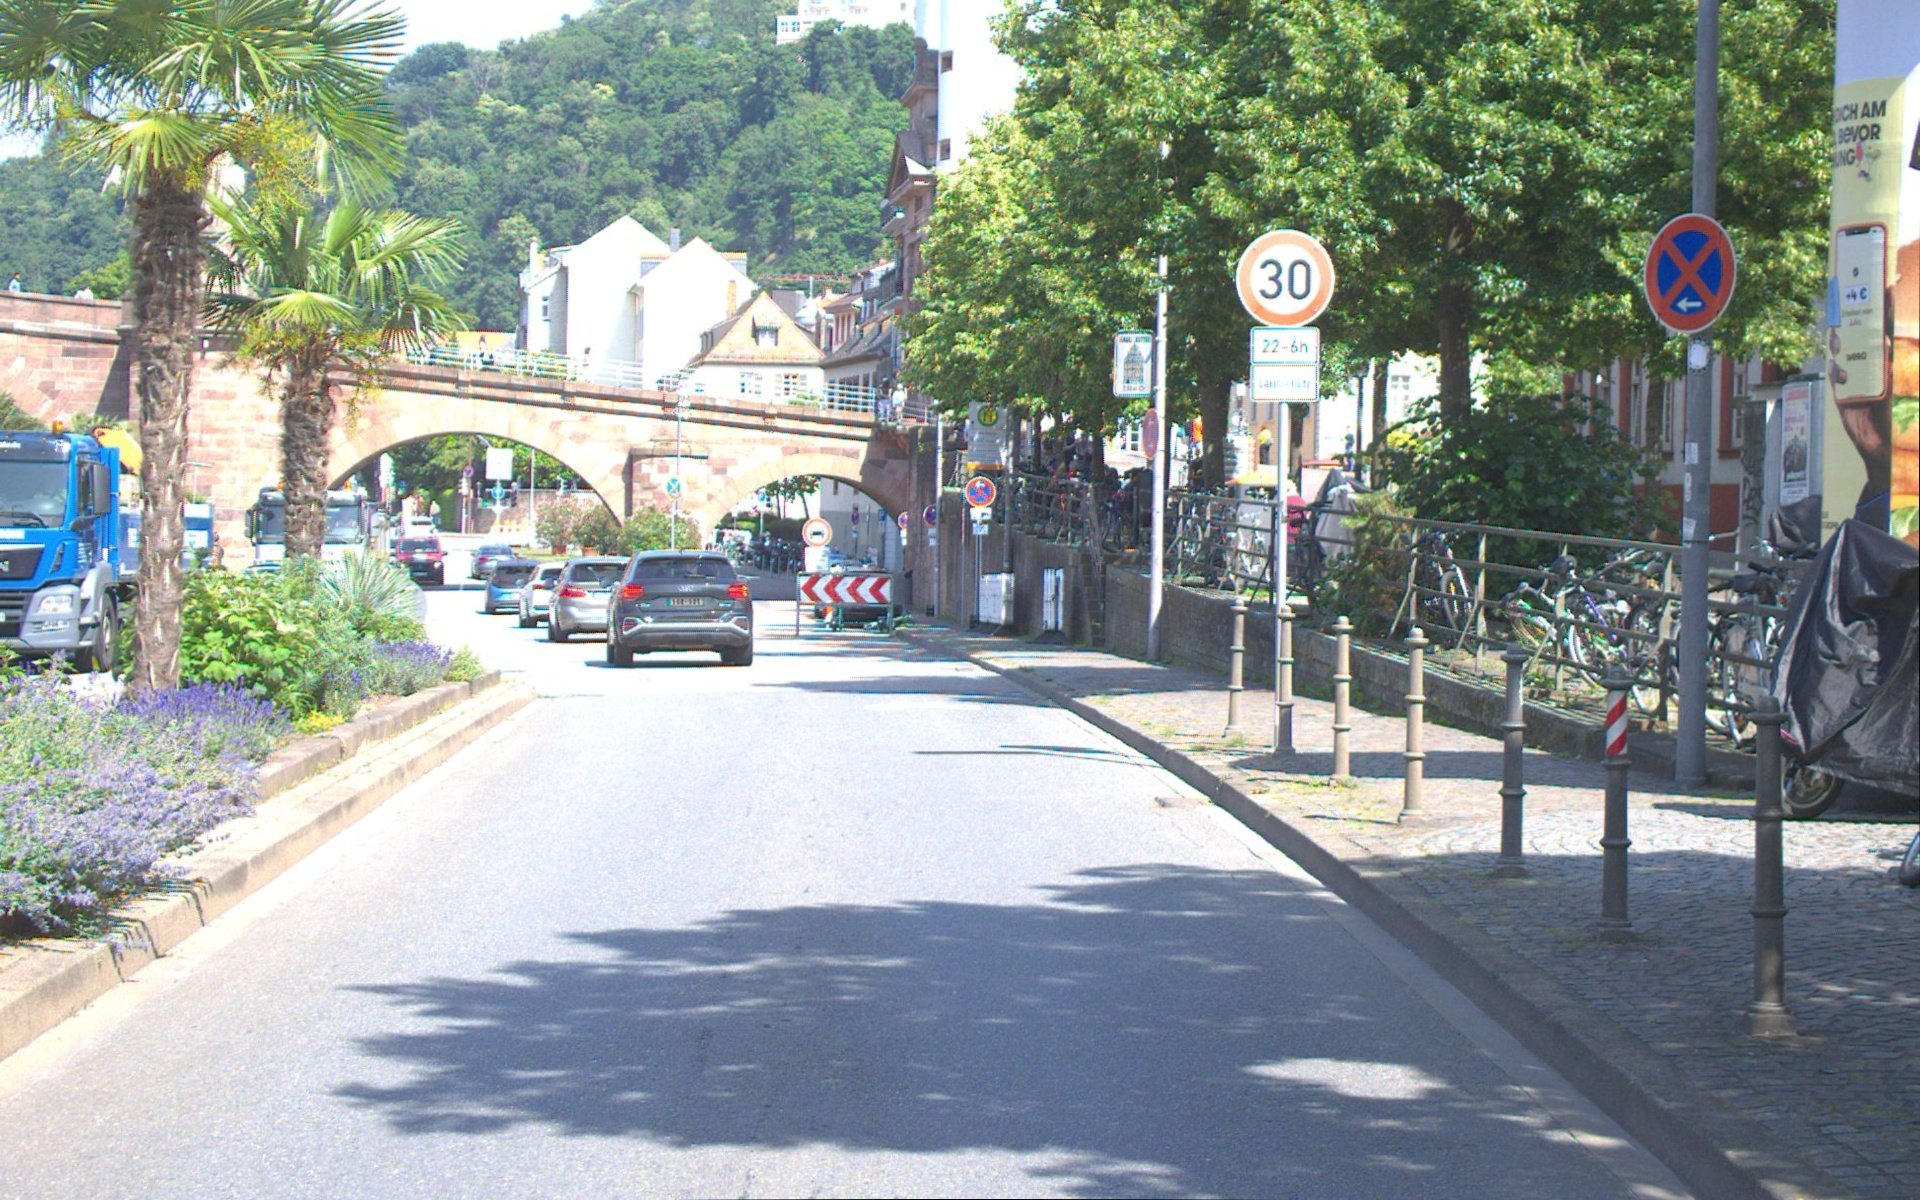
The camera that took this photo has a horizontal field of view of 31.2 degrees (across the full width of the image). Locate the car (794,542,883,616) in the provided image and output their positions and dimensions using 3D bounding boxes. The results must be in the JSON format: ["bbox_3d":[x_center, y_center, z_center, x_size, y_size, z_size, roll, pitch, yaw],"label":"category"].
[{"bbox_3d":[-2.793,-0.514,79.609,1.719,1.590,3.894,1,2,3],"label":"car"}]

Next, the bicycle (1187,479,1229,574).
[{"bbox_3d":[2.940,-0.873,40.782,0.250,1.092,1.489,3,1,-3],"label":"bicycle"}]

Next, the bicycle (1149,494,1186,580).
[{"bbox_3d":[2.696,-0.827,44.795,0.250,1.092,1.489,3,1,-3],"label":"bicycle"}]

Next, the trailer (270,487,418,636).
[{"bbox_3d":[-14.953,-1.040,84.098,2.657,3.391,10.171,1,2,-5],"label":"trailer"}]

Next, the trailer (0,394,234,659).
[{"bbox_3d":[-12.401,-1.094,48.828,2.657,3.391,8.828,1,2,-3],"label":"trailer"}]

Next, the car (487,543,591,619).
[{"bbox_3d":[-9.606,-0.465,78.790,1.993,1.548,4.833,1,2,-3],"label":"car"}]

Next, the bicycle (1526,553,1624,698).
[{"bbox_3d":[4.042,0.151,22.641,0.250,0.901,1.489,1,1,-4],"label":"bicycle"}]

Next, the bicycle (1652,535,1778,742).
[{"bbox_3d":[4.272,0.195,19.517,0.250,1.116,1.489,1,1,-4],"label":"bicycle"}]

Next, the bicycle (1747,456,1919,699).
[{"bbox_3d":[5.760,-0.136,21.230,1.722,1.478,0.270,1,1,-4],"label":"bicycle"}]

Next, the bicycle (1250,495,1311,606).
[{"bbox_3d":[3.238,-0.510,34.819,0.345,1.092,1.489,3,1,-3],"label":"bicycle"}]

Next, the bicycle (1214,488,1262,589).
[{"bbox_3d":[3.095,-0.696,38.384,0.275,1.092,1.489,-4,2,-3],"label":"bicycle"}]

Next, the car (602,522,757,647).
[{"bbox_3d":[-3.688,-0.208,45.503,1.926,1.548,4.832,0,0,-4],"label":"car"}]

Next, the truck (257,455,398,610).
[{"bbox_3d":[-14.456,-1.570,78.863,2.657,3.391,5.136,1,2,-5],"label":"truck"}]

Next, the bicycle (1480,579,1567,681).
[{"bbox_3d":[3.955,0.198,24.194,0.250,0.661,1.469,1,1,-4],"label":"bicycle"}]

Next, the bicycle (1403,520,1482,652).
[{"bbox_3d":[3.814,-0.127,27.230,0.250,0.996,1.489,3,1,-4],"label":"bicycle"}]

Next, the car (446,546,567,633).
[{"bbox_3d":[-9.077,-0.248,69.182,1.993,1.548,4.833,1,2,-3],"label":"car"}]

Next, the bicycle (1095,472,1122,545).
[{"bbox_3d":[2.310,-1.420,53.398,0.356,1.092,1.489,3,1,2],"label":"bicycle"}]

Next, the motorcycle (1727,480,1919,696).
[{"bbox_3d":[6.557,-0.076,22.723,2.835,1.393,0.825,1,1,17],"label":"motorcycle"}]

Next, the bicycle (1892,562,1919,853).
[{"bbox_3d":[4.455,0.429,13.593,1.483,1.129,0.251,1,1,-8],"label":"bicycle"}]

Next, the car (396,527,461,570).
[{"bbox_3d":[-20.819,-2.042,134.765,1.993,1.548,4.833,1,2,-3],"label":"car"}]

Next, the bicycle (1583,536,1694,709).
[{"bbox_3d":[4.143,0.120,21.053,0.250,1.007,1.489,1,1,-4],"label":"bicycle"}]

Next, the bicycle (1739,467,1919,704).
[{"bbox_3d":[5.833,-0.088,21.810,1.706,1.478,0.270,1,1,-4],"label":"bicycle"}]

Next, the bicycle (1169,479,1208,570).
[{"bbox_3d":[2.836,-0.943,42.706,0.250,1.092,1.489,3,1,-3],"label":"bicycle"}]

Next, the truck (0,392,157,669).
[{"bbox_3d":[-12.196,-0.937,44.595,2.657,3.391,4.450,1,2,-3],"label":"truck"}]
